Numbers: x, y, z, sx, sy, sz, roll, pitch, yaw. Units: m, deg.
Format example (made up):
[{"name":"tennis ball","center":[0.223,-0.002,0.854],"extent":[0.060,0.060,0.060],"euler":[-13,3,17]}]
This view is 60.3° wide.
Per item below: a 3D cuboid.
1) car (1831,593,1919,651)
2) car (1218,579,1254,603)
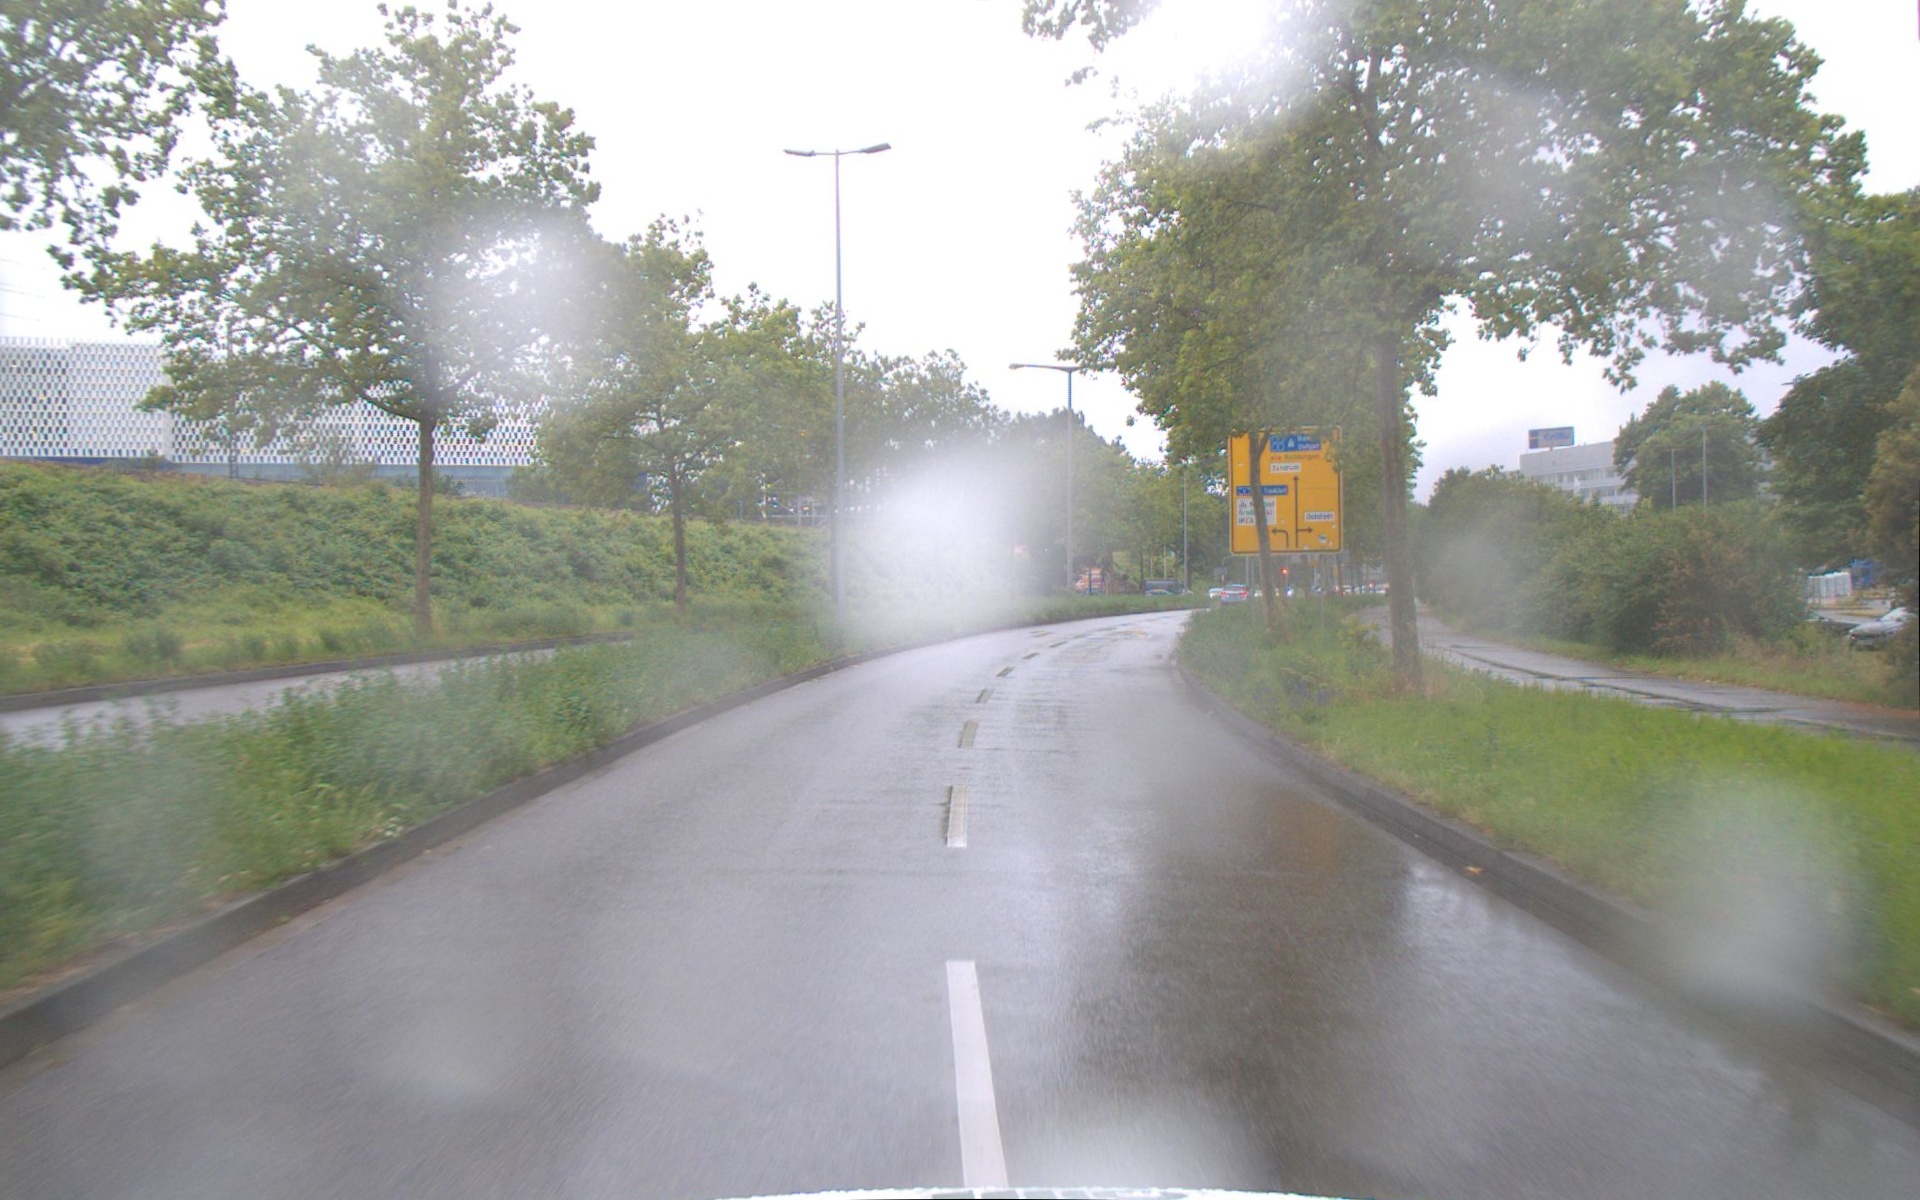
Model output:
[{"name":"car","center":[24.779,0.542,42.741],"extent":[4.222,1.395,1.743],"euler":[-1,0,-23]},{"name":"car","center":[17.147,-0.556,102.658],"extent":[1.654,1.458,4.577],"euler":[0,0,16]}]
